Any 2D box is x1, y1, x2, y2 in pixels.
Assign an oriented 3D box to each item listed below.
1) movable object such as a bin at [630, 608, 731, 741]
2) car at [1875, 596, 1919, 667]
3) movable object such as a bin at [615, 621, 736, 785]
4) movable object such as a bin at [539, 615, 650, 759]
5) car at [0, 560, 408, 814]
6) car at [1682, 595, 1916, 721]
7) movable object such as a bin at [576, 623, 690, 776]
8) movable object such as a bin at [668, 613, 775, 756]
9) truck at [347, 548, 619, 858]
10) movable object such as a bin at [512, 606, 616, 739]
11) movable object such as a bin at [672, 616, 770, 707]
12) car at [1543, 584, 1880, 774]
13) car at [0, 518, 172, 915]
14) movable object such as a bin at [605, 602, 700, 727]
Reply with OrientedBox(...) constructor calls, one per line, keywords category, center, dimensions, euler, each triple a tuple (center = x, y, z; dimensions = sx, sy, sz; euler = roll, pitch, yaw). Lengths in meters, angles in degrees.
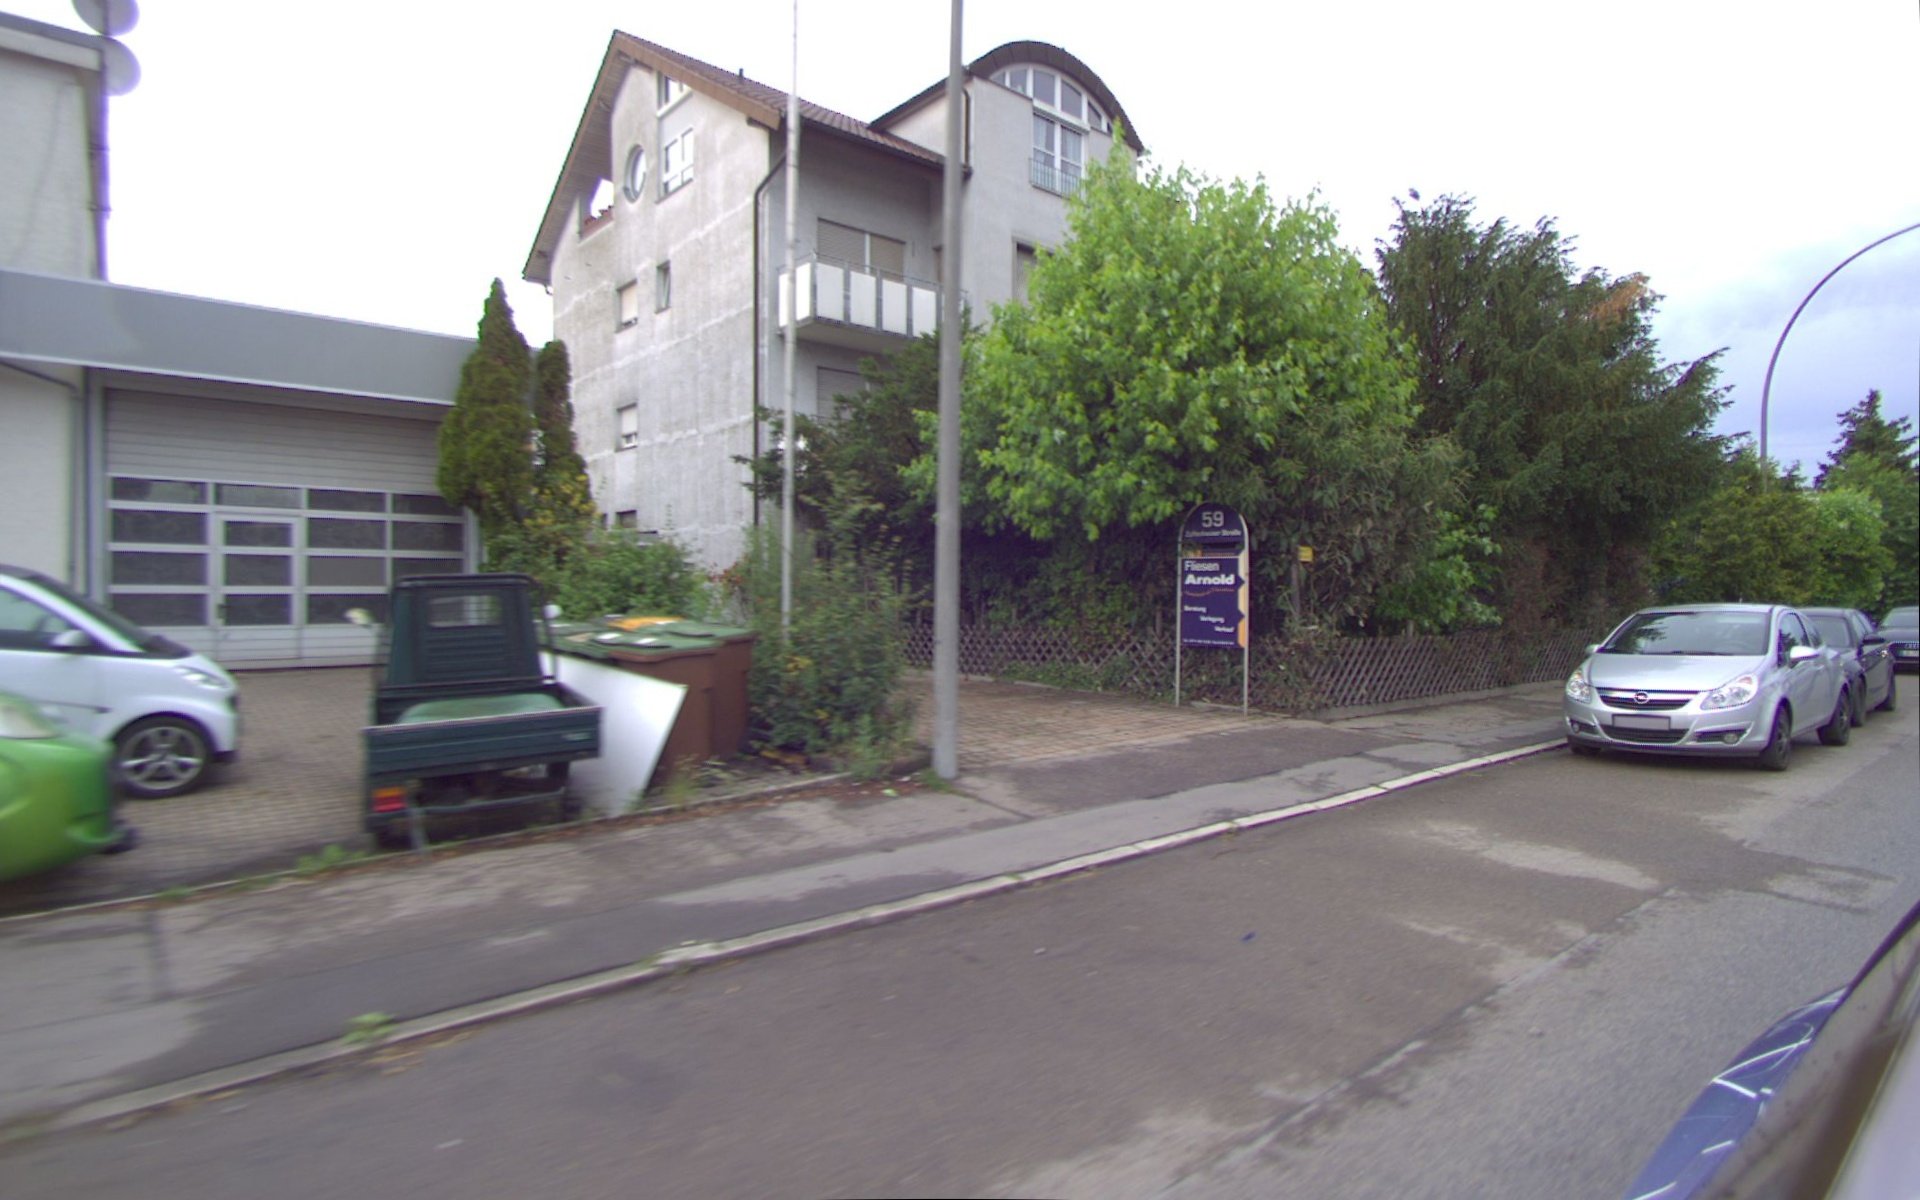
OrientedBox(category="movable object such as a bin", center=(-2.456, 0.624, 8.895), dimensions=(0.670, 1.088, 0.575), euler=(0, 1, -41))
OrientedBox(category="car", center=(21.292, 0.658, 21.852), dimensions=(4.037, 1.436, 1.755), euler=(0, 1, -40))
OrientedBox(category="movable object such as a bin", center=(-2.067, 0.716, 7.354), dimensions=(0.670, 1.088, 0.575), euler=(0, 1, -41))
OrientedBox(category="movable object such as a bin", center=(-3.013, 0.686, 8.346), dimensions=(0.670, 1.088, 0.670), euler=(0, 1, -41))
OrientedBox(category="car", center=(-6.137, 0.508, 7.085), dimensions=(3.670, 1.538, 1.748), euler=(0, 2, -44))
OrientedBox(category="car", center=(11.068, 0.672, 13.285), dimensions=(3.652, 1.421, 1.740), euler=(0, -1, -40))
OrientedBox(category="movable object such as a bin", center=(-2.527, 0.736, 7.827), dimensions=(0.670, 1.088, 0.575), euler=(0, 1, -41))
OrientedBox(category="movable object such as a bin", center=(-1.963, 0.665, 8.340), dimensions=(0.670, 1.088, 0.575), euler=(0, 1, -41))
OrientedBox(category="truck", center=(-3.170, 0.500, 6.510), dimensions=(1.300, 1.549, 2.565), euler=(0, 0, -32))
OrientedBox(category="movable object such as a bin", center=(-3.497, 0.608, 8.933), dimensions=(0.670, 1.088, 0.670), euler=(0, 1, -41))
OrientedBox(category="movable object such as a bin", center=(-2.653, 0.655, 11.209), dimensions=(0.745, 0.939, 0.860), euler=(-1, 0, -41))
OrientedBox(category="car", center=(7.501, 0.650, 9.997), dimensions=(3.810, 1.521, 1.741), euler=(0, -1, -39))
OrientedBox(category="car", center=(-5.792, 0.485, 4.084), dimensions=(3.934, 1.704, 1.995), euler=(0, 1, -45))
OrientedBox(category="movable object such as a bin", center=(-2.850, 0.575, 9.380), dimensions=(0.670, 1.088, 0.575), euler=(0, 1, -41))
